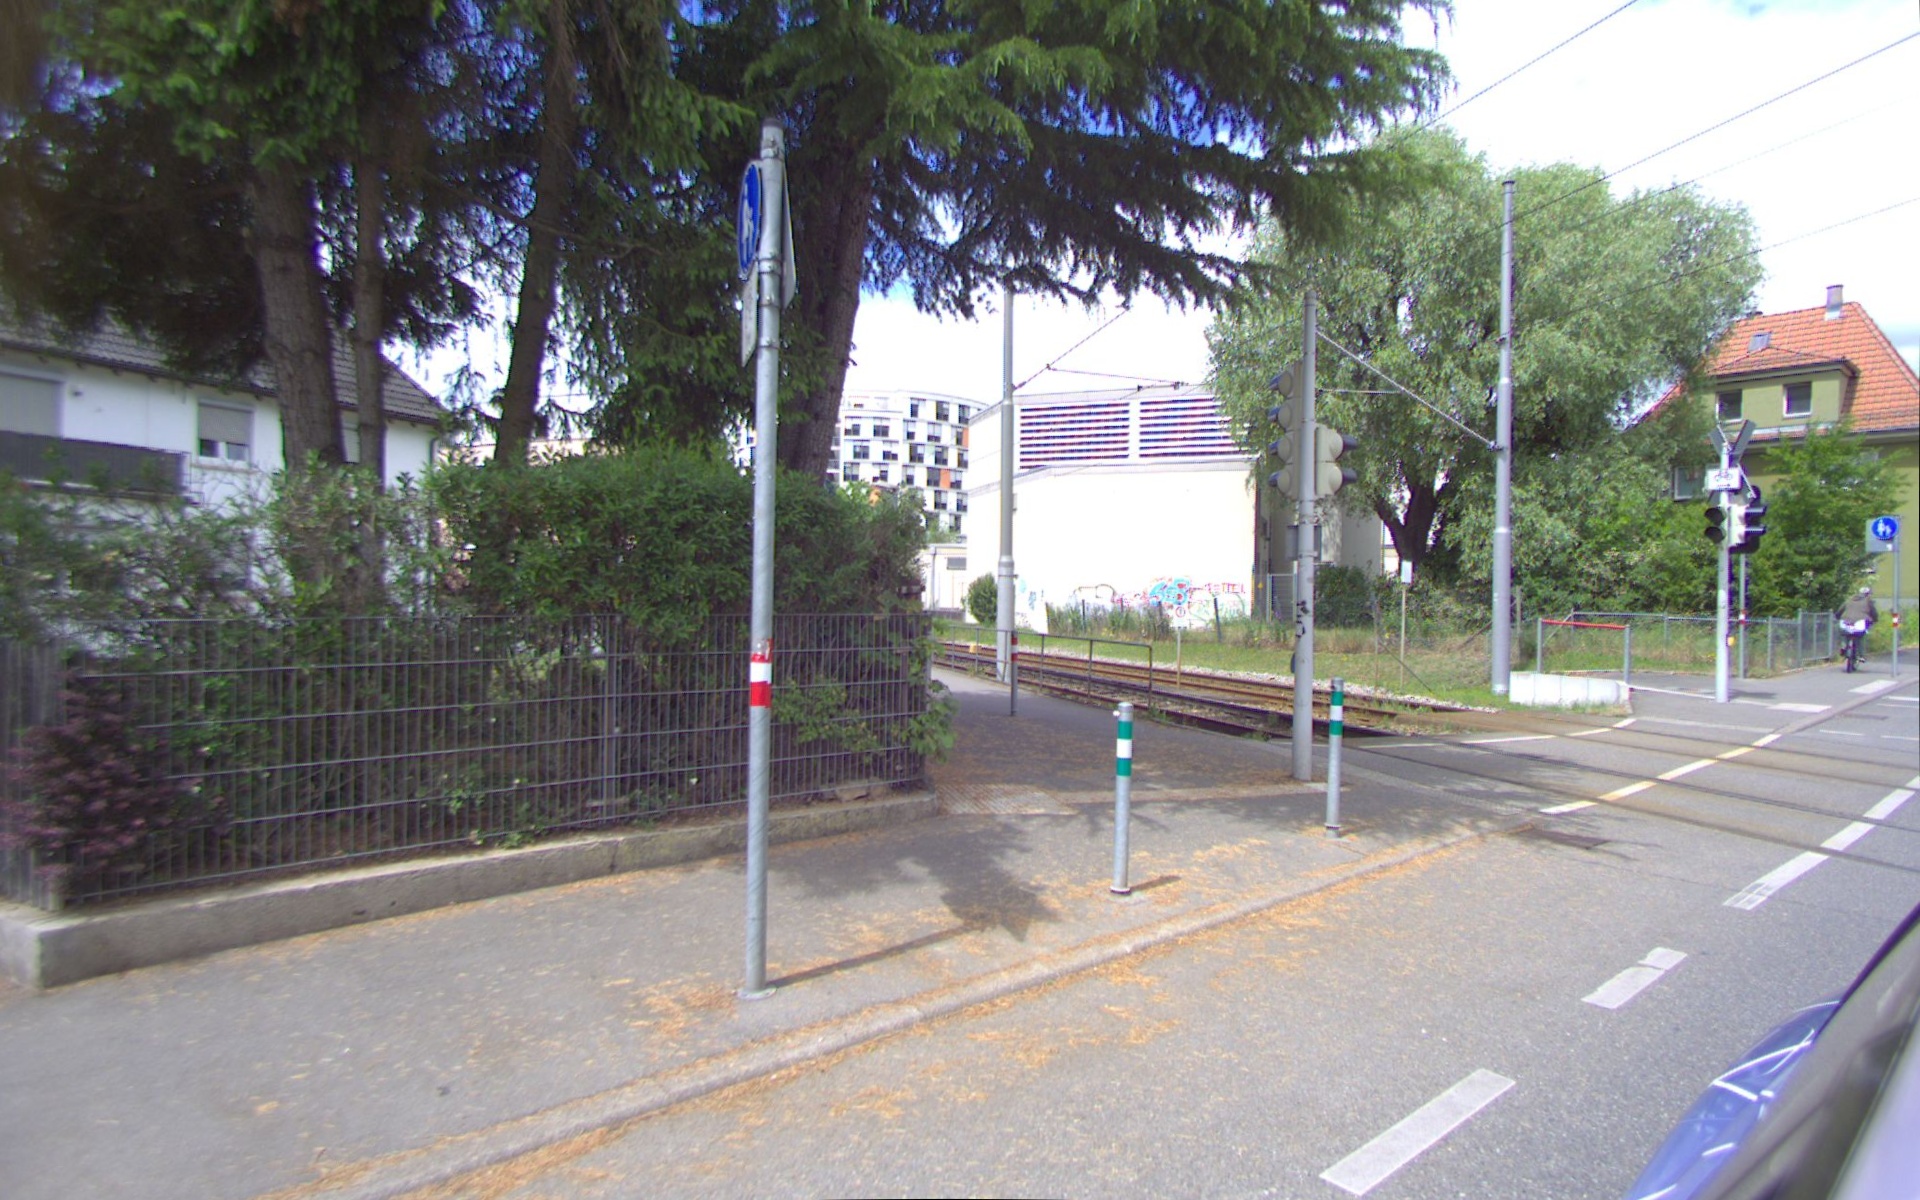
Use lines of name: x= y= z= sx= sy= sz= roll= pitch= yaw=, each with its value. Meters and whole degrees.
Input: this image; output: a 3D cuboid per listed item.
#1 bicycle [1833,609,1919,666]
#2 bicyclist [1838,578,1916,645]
bicycle: x=18.410 y=0.727 z=20.311 sx=1.879 sy=1.053 sz=0.935 roll=1 pitch=2 yaw=-37
bicyclist: x=18.329 y=0.225 z=20.234 sx=1.082 sy=1.263 sz=0.935 roll=1 pitch=1 yaw=-37
